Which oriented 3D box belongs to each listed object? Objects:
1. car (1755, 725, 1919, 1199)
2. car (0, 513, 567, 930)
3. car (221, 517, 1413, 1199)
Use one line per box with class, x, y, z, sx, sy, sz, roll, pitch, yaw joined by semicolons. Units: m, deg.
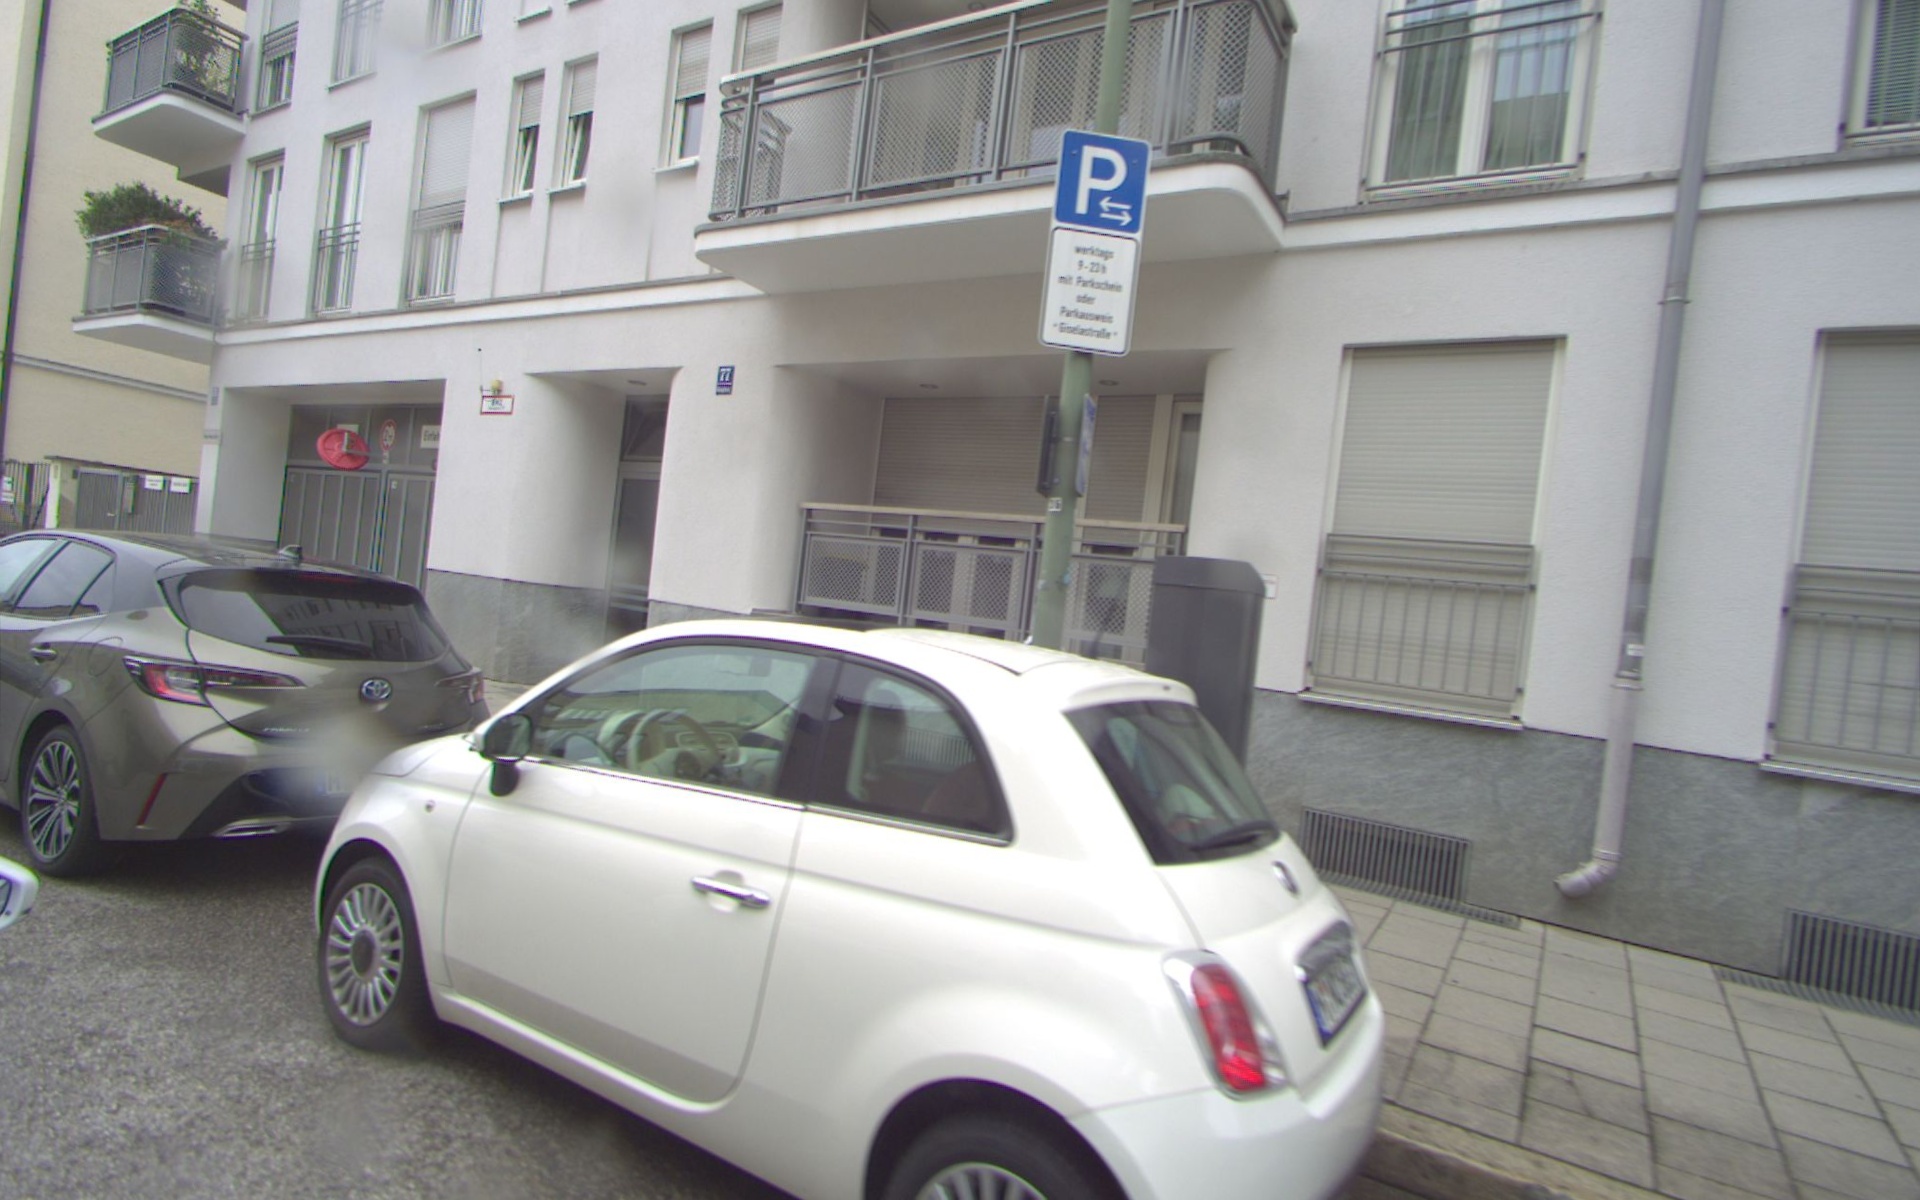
car;3.459;1.202;0.490;4.543;1.547;1.738;7;-2;30
car;-4.272;0.367;5.414;4.009;1.425;1.766;6;-1;29
car;-0.598;0.730;3.239;3.467;1.548;1.522;7;-1;31
